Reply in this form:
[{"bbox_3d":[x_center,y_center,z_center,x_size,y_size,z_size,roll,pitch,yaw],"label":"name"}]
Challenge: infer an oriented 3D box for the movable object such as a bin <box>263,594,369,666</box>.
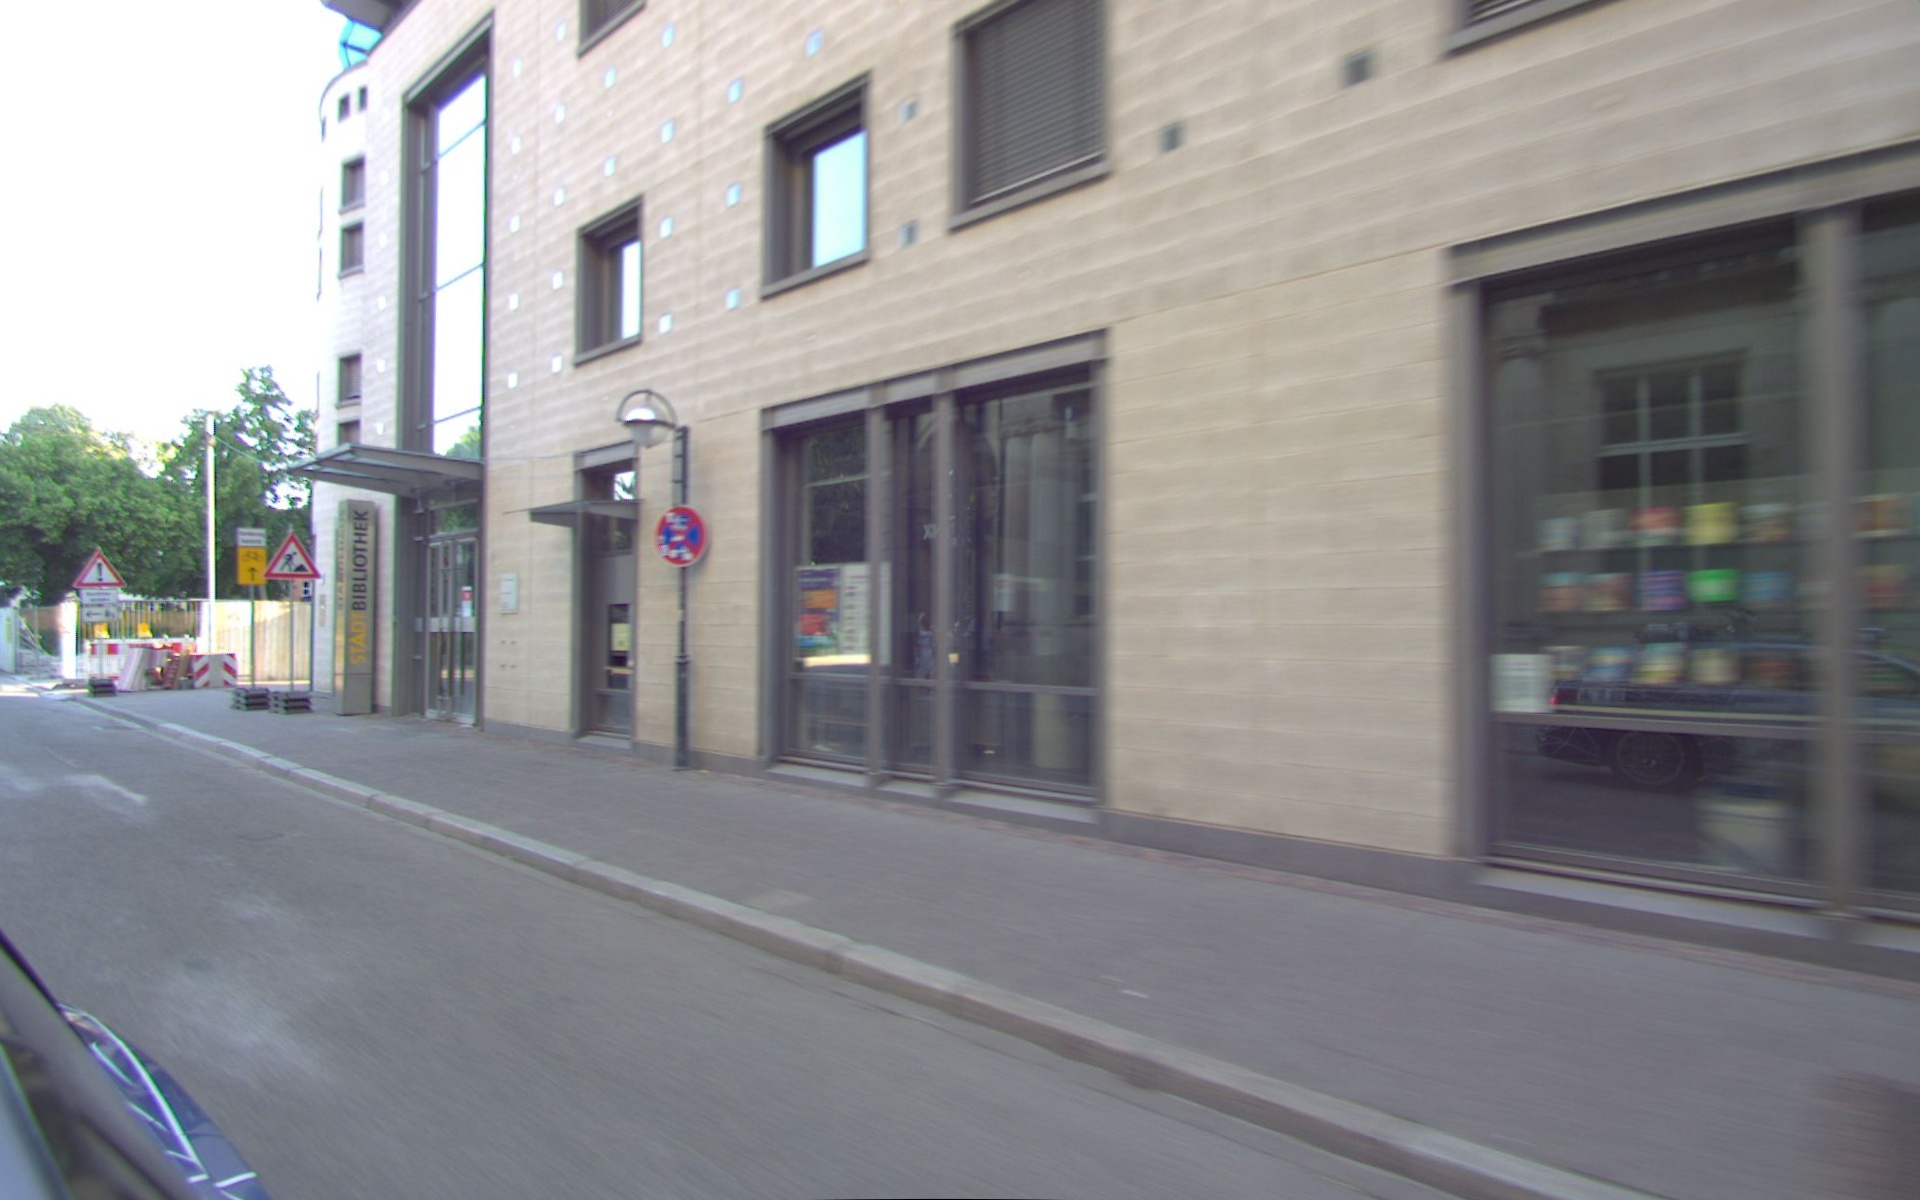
[{"bbox_3d":[-24.366,1.142,38.349,2.727,2.623,2.145,-1,-2,20],"label":"movable object such as a bin"}]
